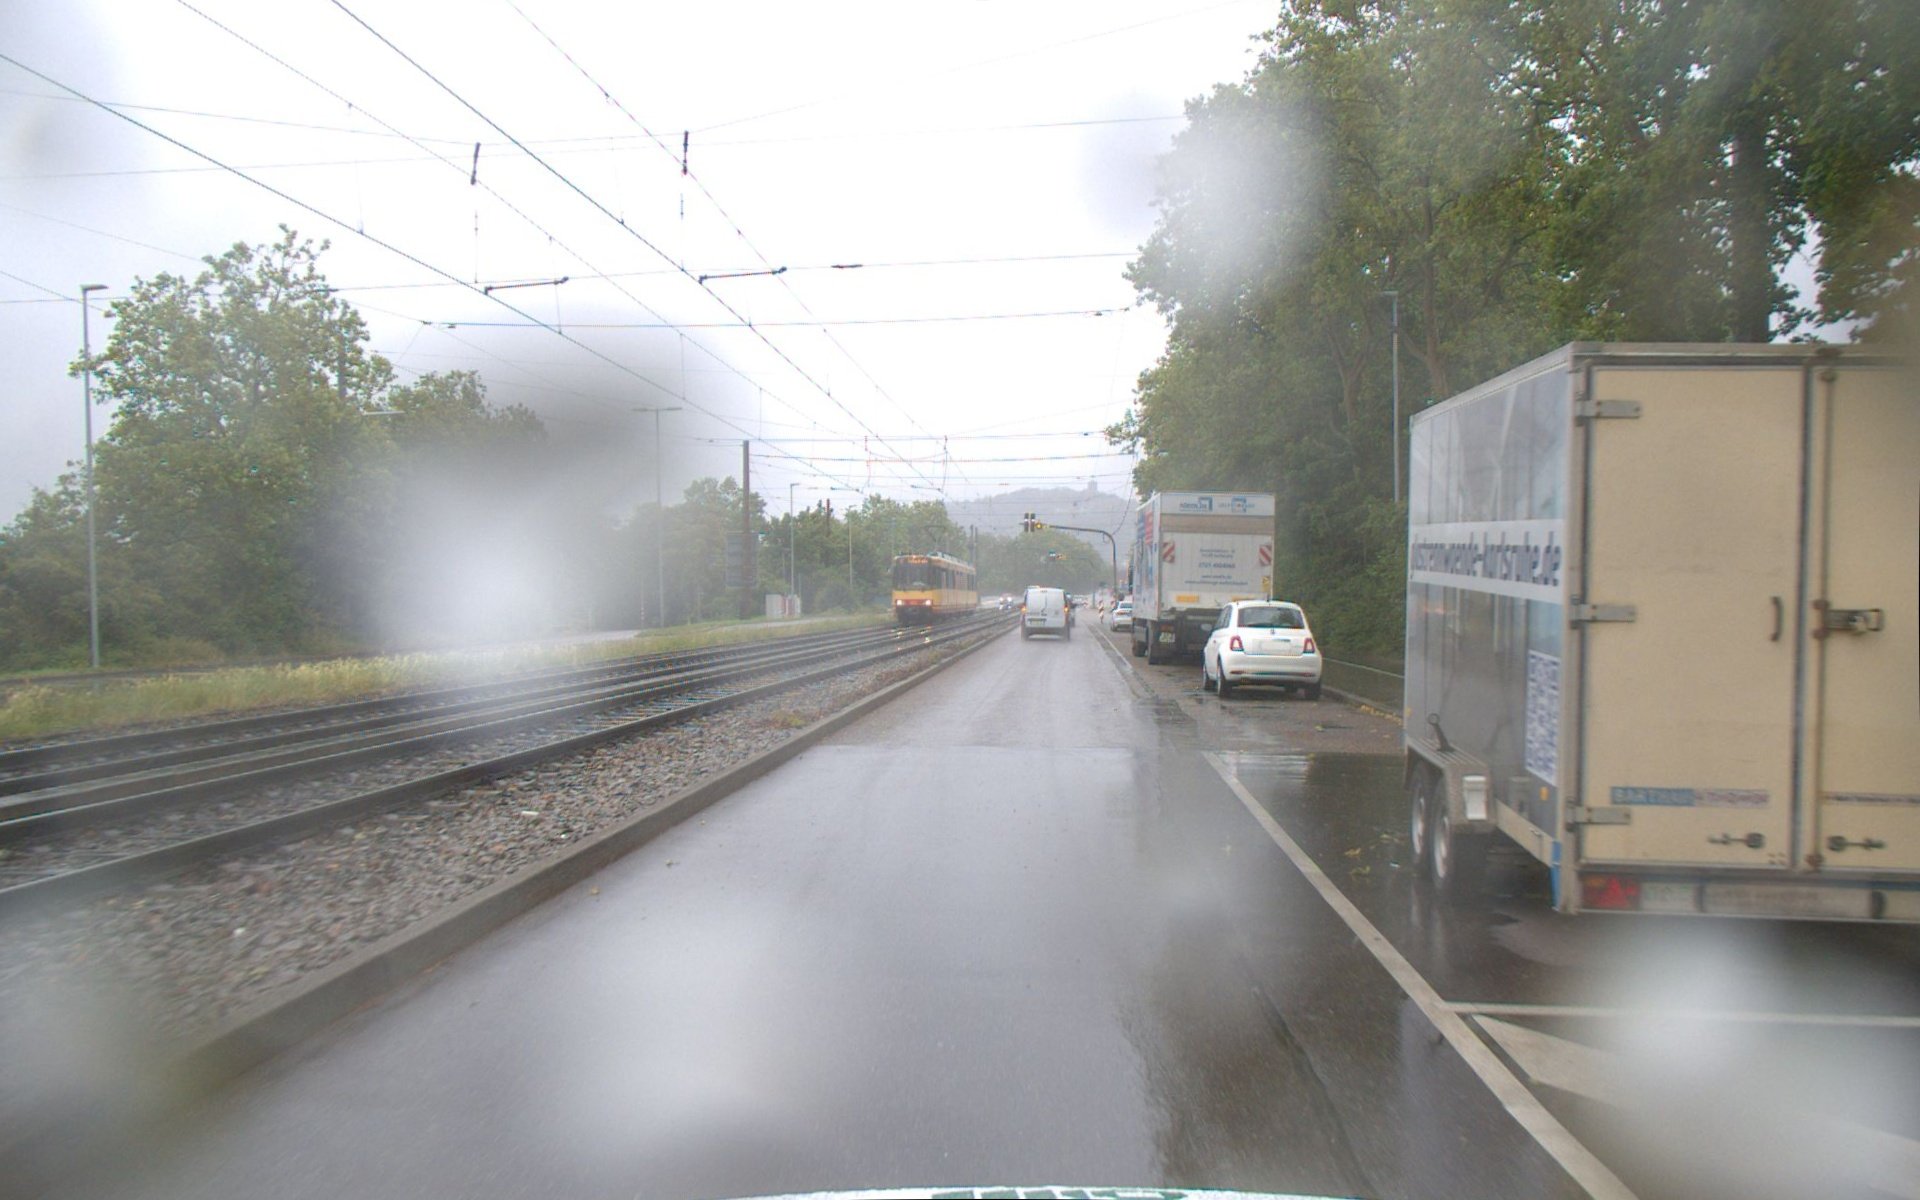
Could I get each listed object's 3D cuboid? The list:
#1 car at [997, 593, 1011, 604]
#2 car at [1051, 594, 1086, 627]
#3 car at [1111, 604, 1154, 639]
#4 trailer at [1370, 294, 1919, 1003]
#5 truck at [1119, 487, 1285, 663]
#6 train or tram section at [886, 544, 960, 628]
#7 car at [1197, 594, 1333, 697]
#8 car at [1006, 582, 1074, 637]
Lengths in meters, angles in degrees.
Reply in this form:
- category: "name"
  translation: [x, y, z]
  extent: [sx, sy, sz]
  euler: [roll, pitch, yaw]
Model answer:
- category: "car"
  translation: [6.078, -0.244, 230.216]
  extent: [1.781, 1.422, 4.002]
  euler: [-1, 0, 3]
- category: "car"
  translation: [5.653, 0.539, 85.994]
  extent: [1.749, 1.671, 3.970]
  euler: [0, -1, 4]
- category: "car"
  translation: [7.992, 0.961, 76.734]
  extent: [1.781, 1.512, 4.483]
  euler: [2, 0, 4]
- category: "trailer"
  translation: [3.806, 0.216, 9.403]
  extent: [2.120, 2.806, 5.680]
  euler: [0, -1, 6]
- category: "truck"
  translation: [5.668, -0.488, 40.383]
  extent: [2.718, 3.769, 9.852]
  euler: [0, -1, 1]
- category: "train or tram section"
  translation: [-1.884, -0.719, 89.526]
  extent: [2.747, 4.222, 13.026]
  euler: [0, 0, 4]
- category: "car"
  translation: [4.950, 0.691, 27.274]
  extent: [1.677, 1.556, 4.001]
  euler: [0, 0, 3]
- category: "car"
  translation: [2.832, 0.334, 59.086]
  extent: [1.954, 1.881, 3.996]
  euler: [0, 0, -4]
